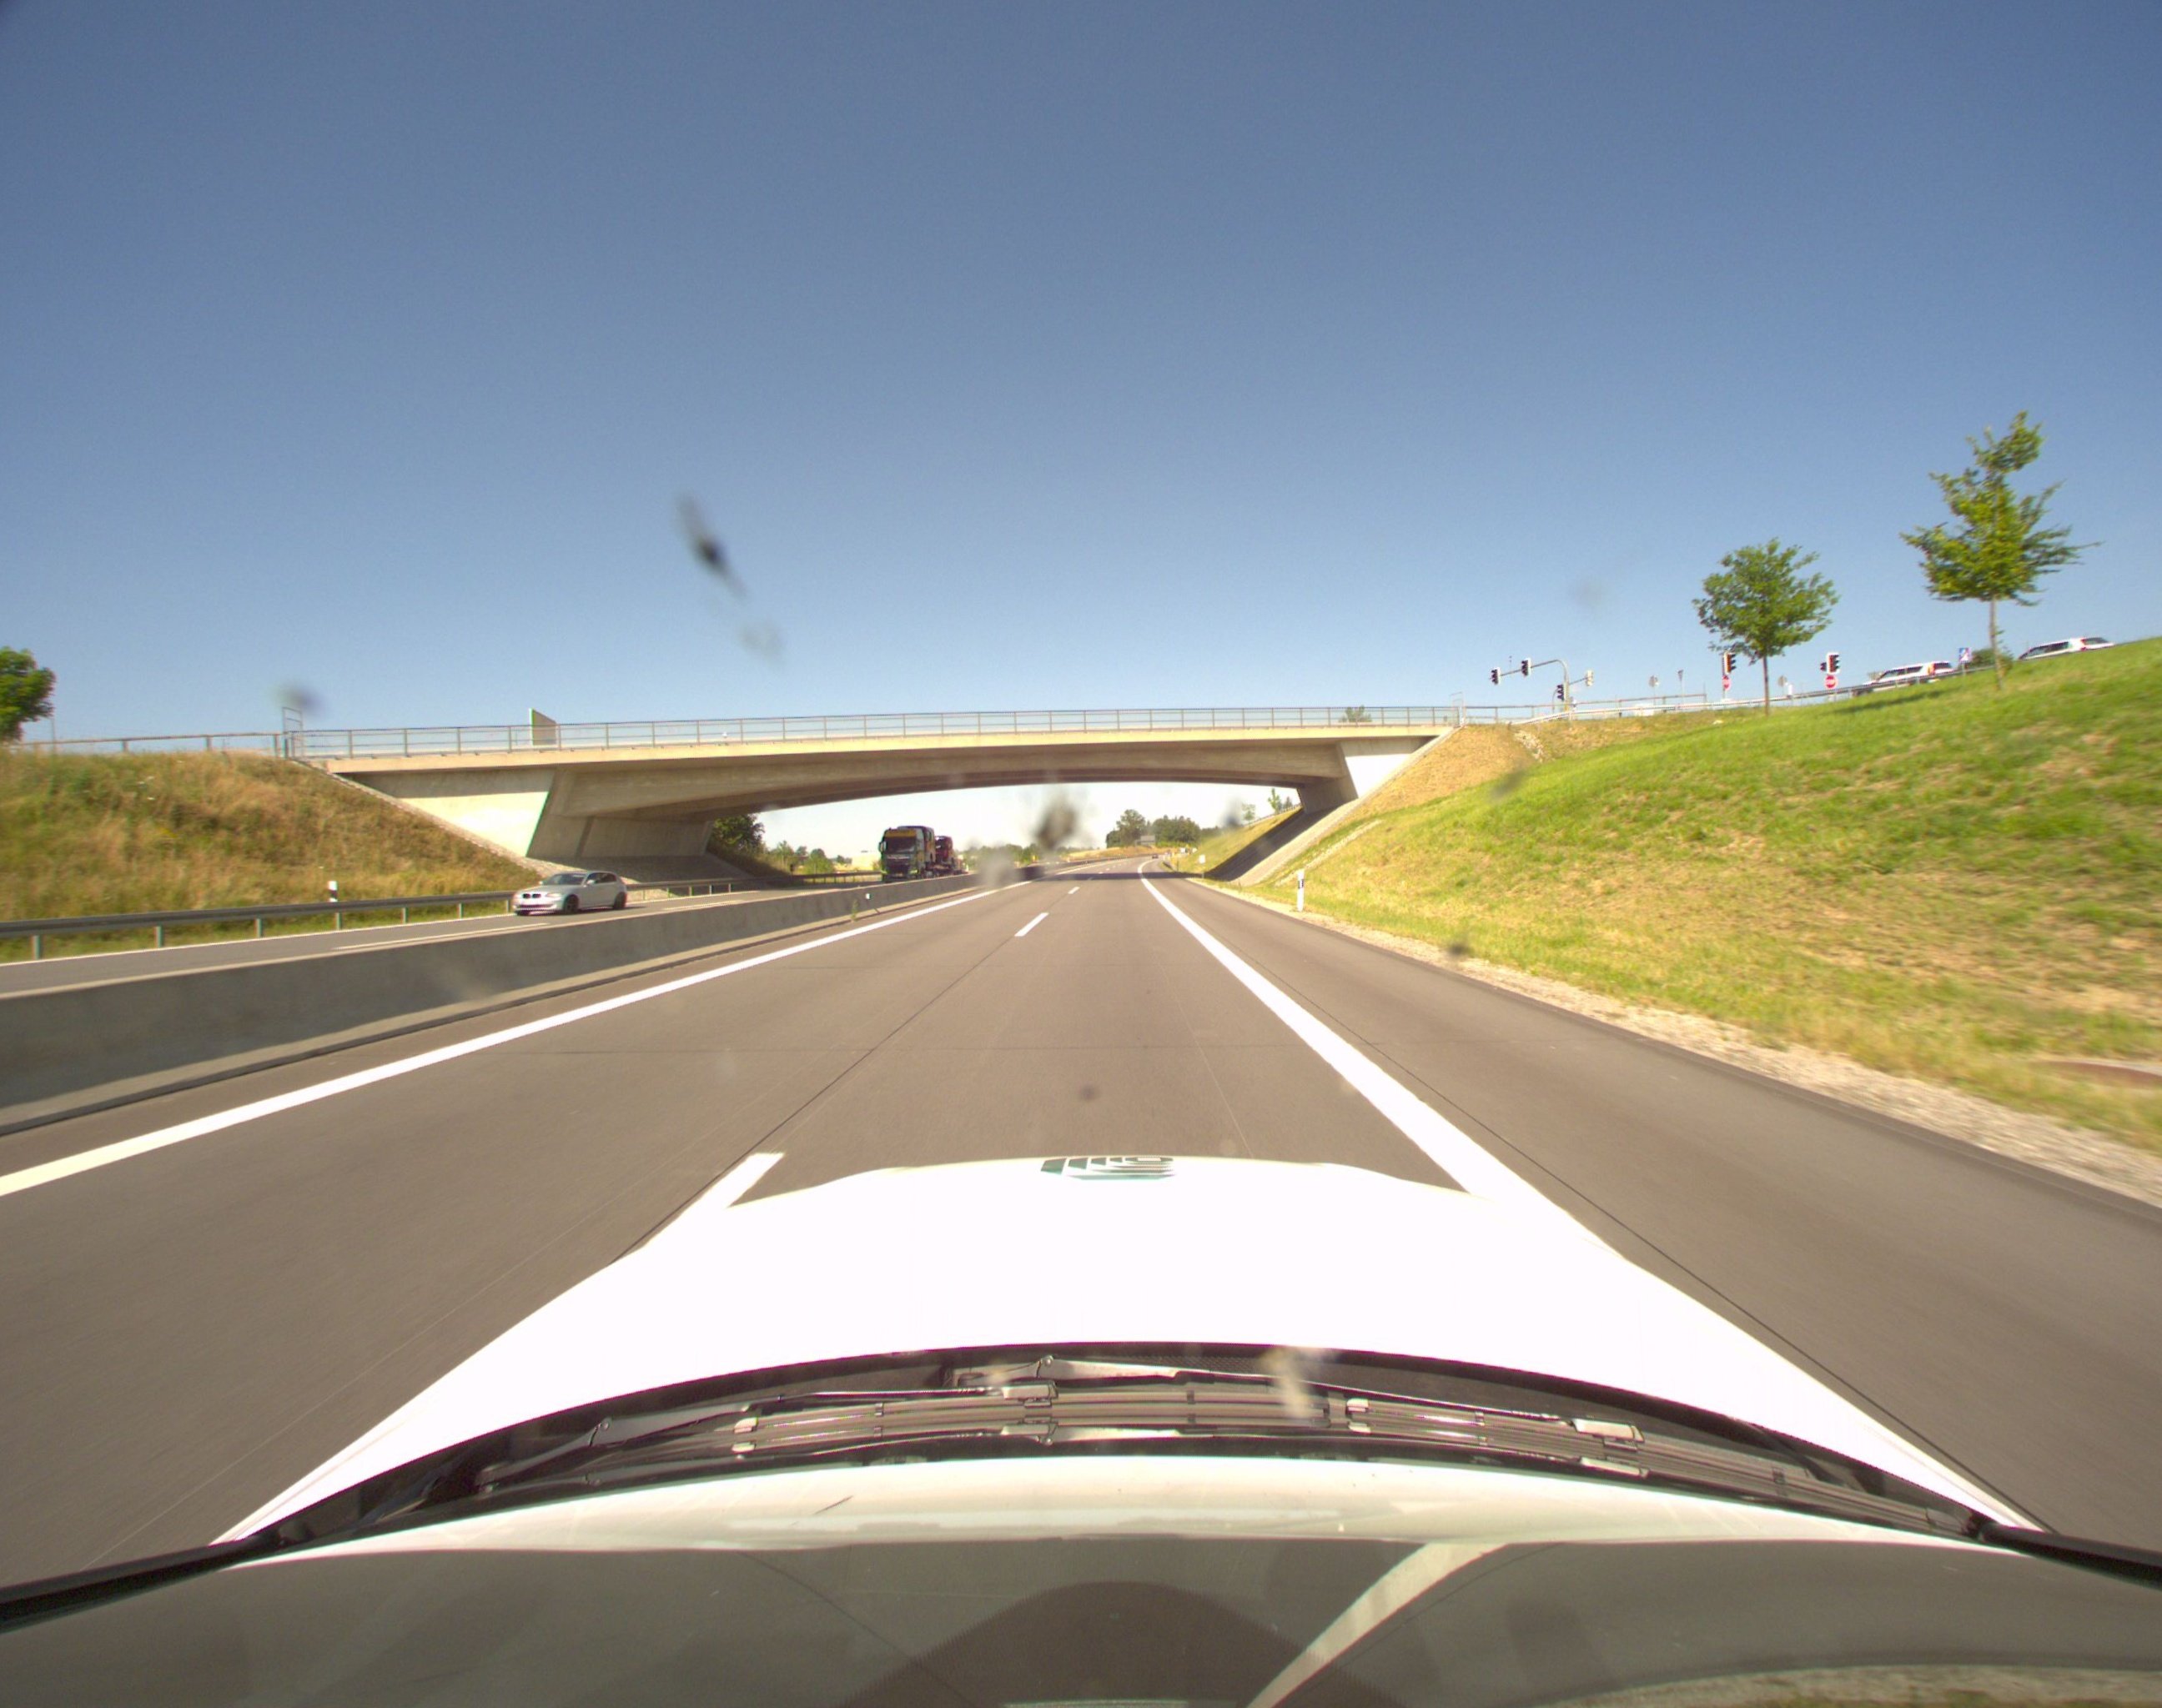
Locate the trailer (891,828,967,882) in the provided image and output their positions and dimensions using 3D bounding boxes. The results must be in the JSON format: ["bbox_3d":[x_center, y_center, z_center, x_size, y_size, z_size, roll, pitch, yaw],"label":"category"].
[{"bbox_3d":[-11.481,0.072,63.144,2.654,3.657,13.247,-1,0,3],"label":"trailer"}]

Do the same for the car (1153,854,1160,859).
[{"bbox_3d":[22.980,0.779,246.748,1.984,1.420,4.005,-3,0,5],"label":"car"}]

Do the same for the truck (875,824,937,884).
[{"bbox_3d":[-11.826,-0.013,55.696,2.725,3.832,5.833,-1,0,2],"label":"truck"}]

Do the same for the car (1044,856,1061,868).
[{"bbox_3d":[-4.065,1.124,117.295,2.061,1.574,4.931,-1,0,3],"label":"car"}]

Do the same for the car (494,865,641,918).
[{"bbox_3d":[-17.203,1.201,27.596,1.854,1.531,4.572,-1,0,3],"label":"car"}]
